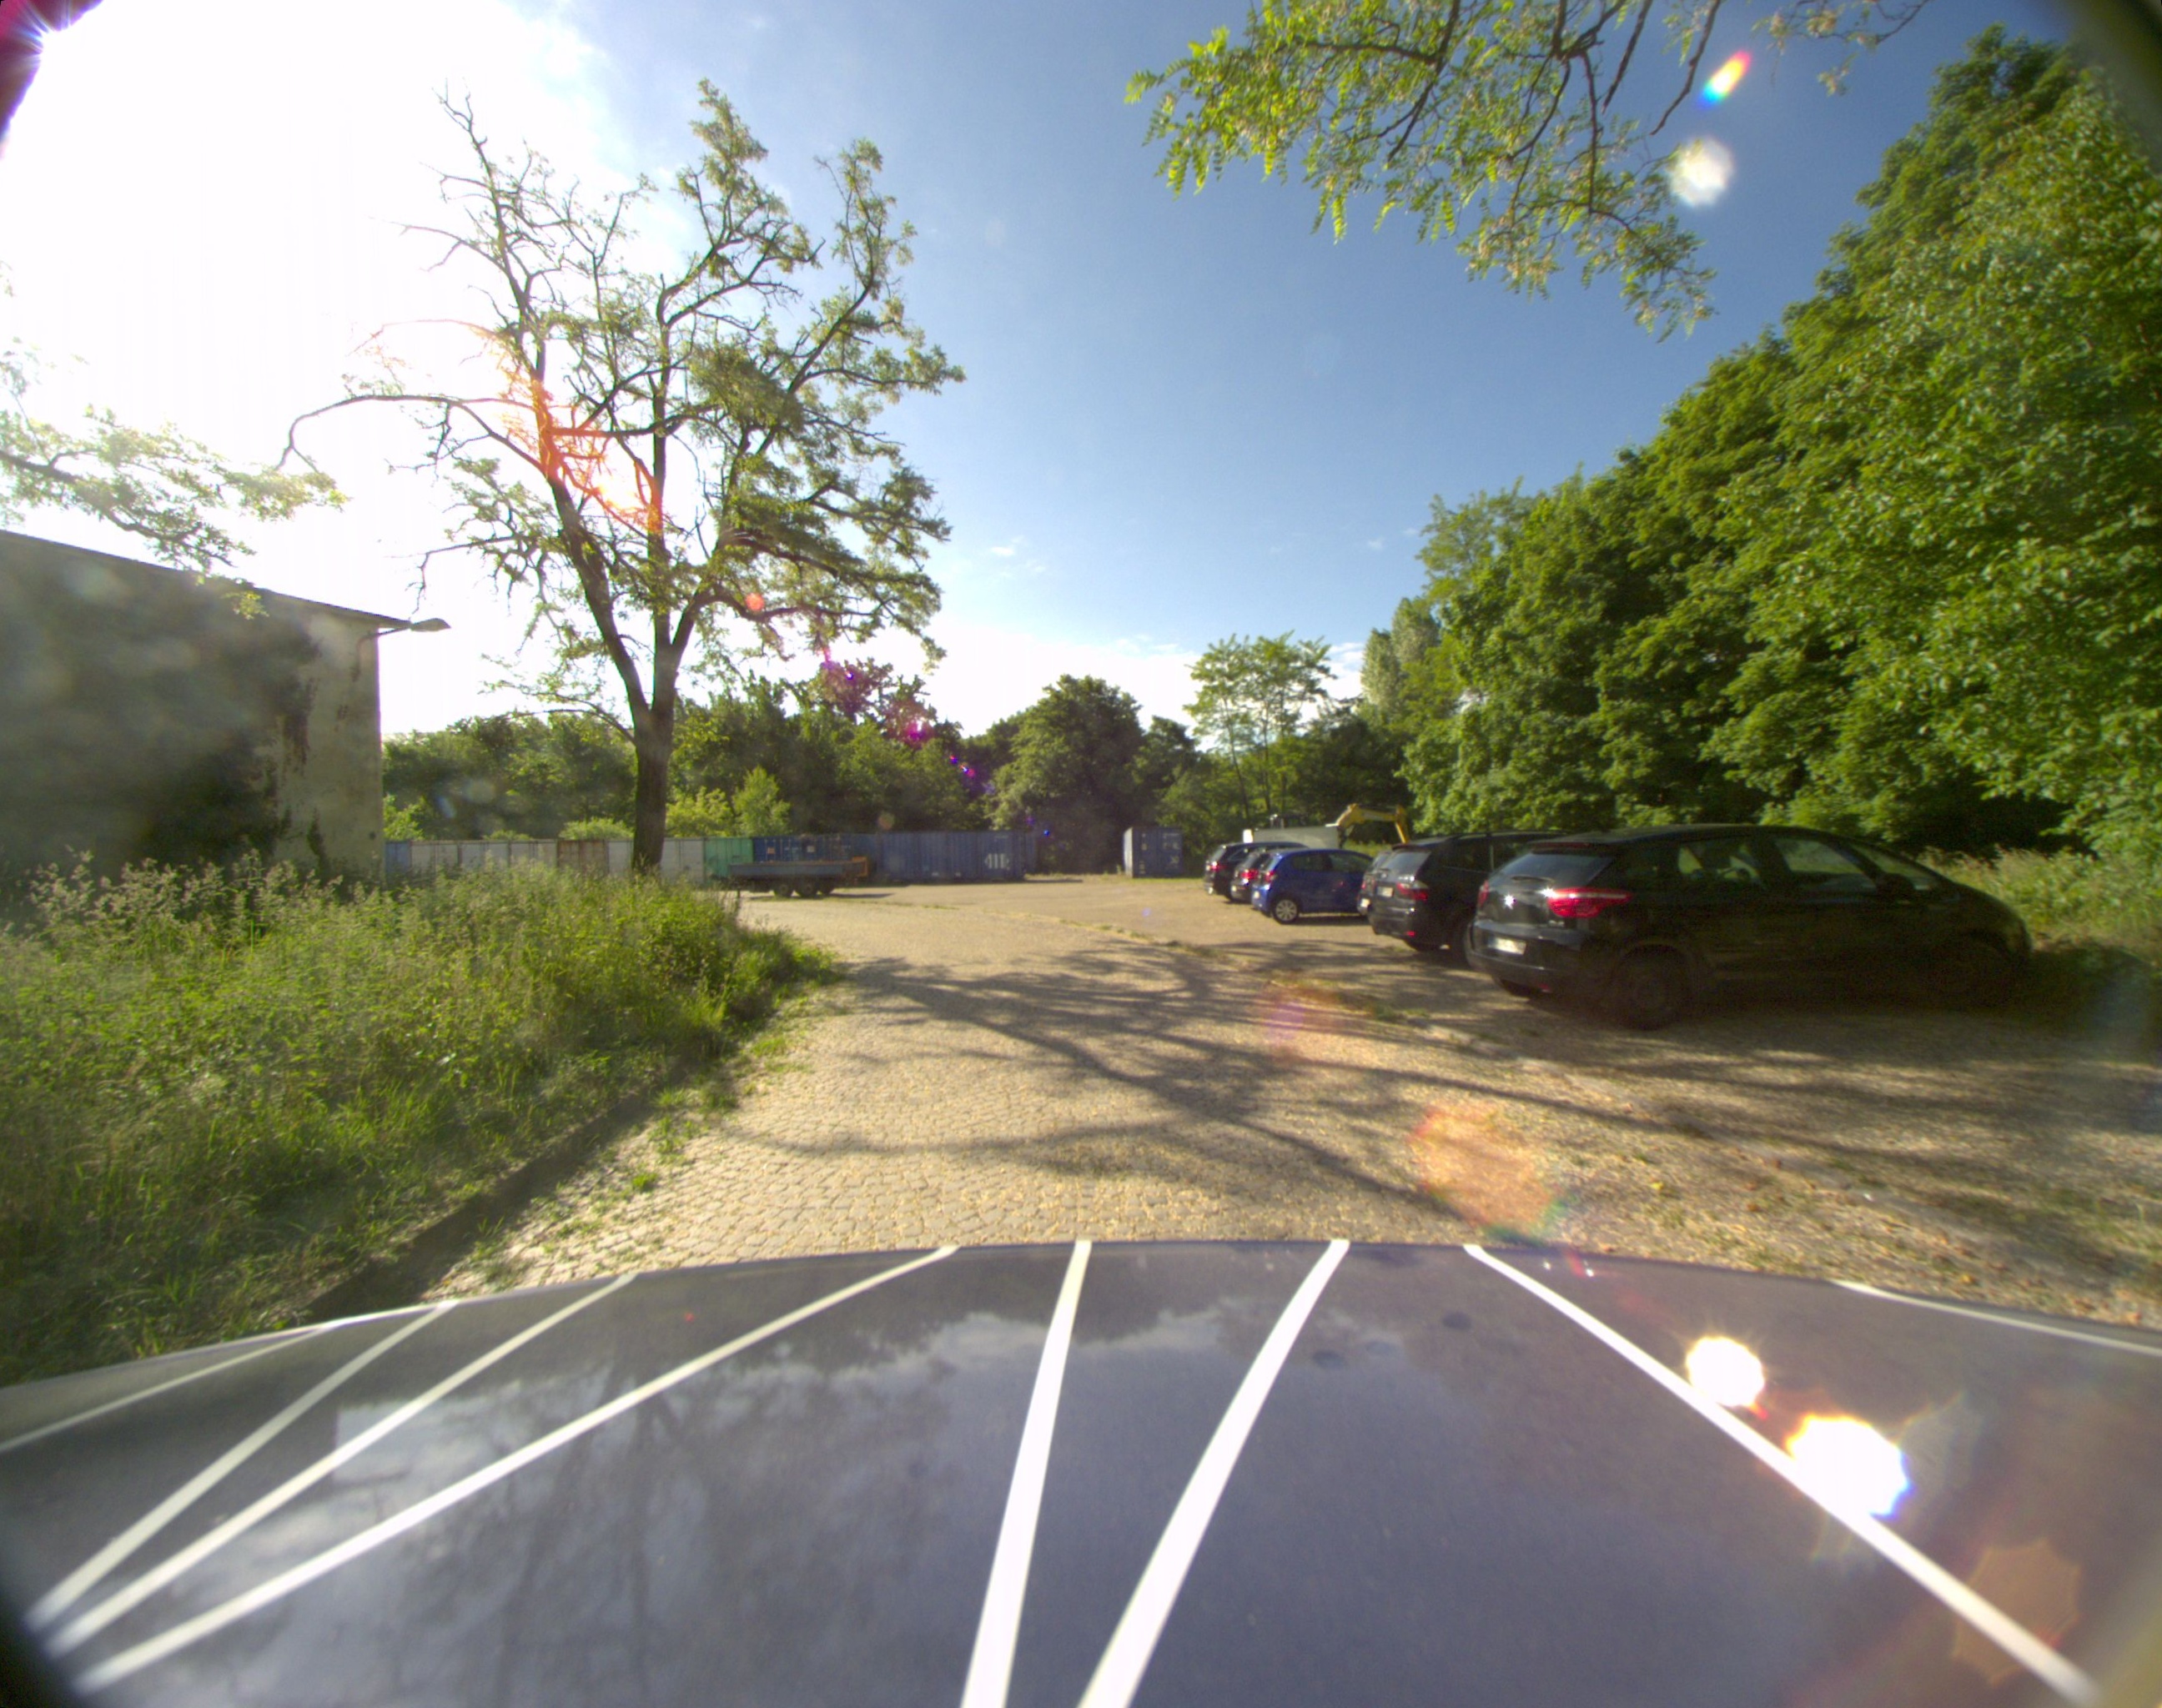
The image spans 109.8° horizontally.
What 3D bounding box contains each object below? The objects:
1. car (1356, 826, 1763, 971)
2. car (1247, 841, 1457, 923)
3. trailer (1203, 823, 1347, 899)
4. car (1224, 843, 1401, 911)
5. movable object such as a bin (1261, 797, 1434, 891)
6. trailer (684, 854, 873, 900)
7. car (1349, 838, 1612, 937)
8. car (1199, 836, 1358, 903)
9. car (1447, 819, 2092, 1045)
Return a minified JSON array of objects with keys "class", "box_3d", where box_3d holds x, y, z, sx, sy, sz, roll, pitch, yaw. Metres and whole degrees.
[{"class":"car","box_3d":[6.052,0.534,9.992,4.187,1.646,1.817,-1,1,1]},{"class":"car","box_3d":[5.366,0.538,15.426,3.659,1.484,1.715,-1,1,4]},{"class":"trailer","box_3d":[5.899,0.196,23.397,3.969,2.082,1.639,-3,1,2]},{"class":"car","box_3d":[5.394,0.519,18.047,3.660,1.442,1.834,-1,1,2]},{"class":"movable object such as a bin","box_3d":[8.822,-0.308,25.573,5.158,2.949,2.001,-1,1,6]},{"class":"trailer","box_3d":[-12.162,0.888,31.017,6.487,1.509,2.855,-2,2,1]},{"class":"car","box_3d":[6.573,0.541,12.827,3.547,1.507,1.679,-1,1,7]},{"class":"car","box_3d":[5.221,0.393,20.492,3.816,1.631,1.868,-2,1,4]},{"class":"car","box_3d":[5.866,0.588,6.830,4.298,1.642,1.792,-1,1,-3]}]
